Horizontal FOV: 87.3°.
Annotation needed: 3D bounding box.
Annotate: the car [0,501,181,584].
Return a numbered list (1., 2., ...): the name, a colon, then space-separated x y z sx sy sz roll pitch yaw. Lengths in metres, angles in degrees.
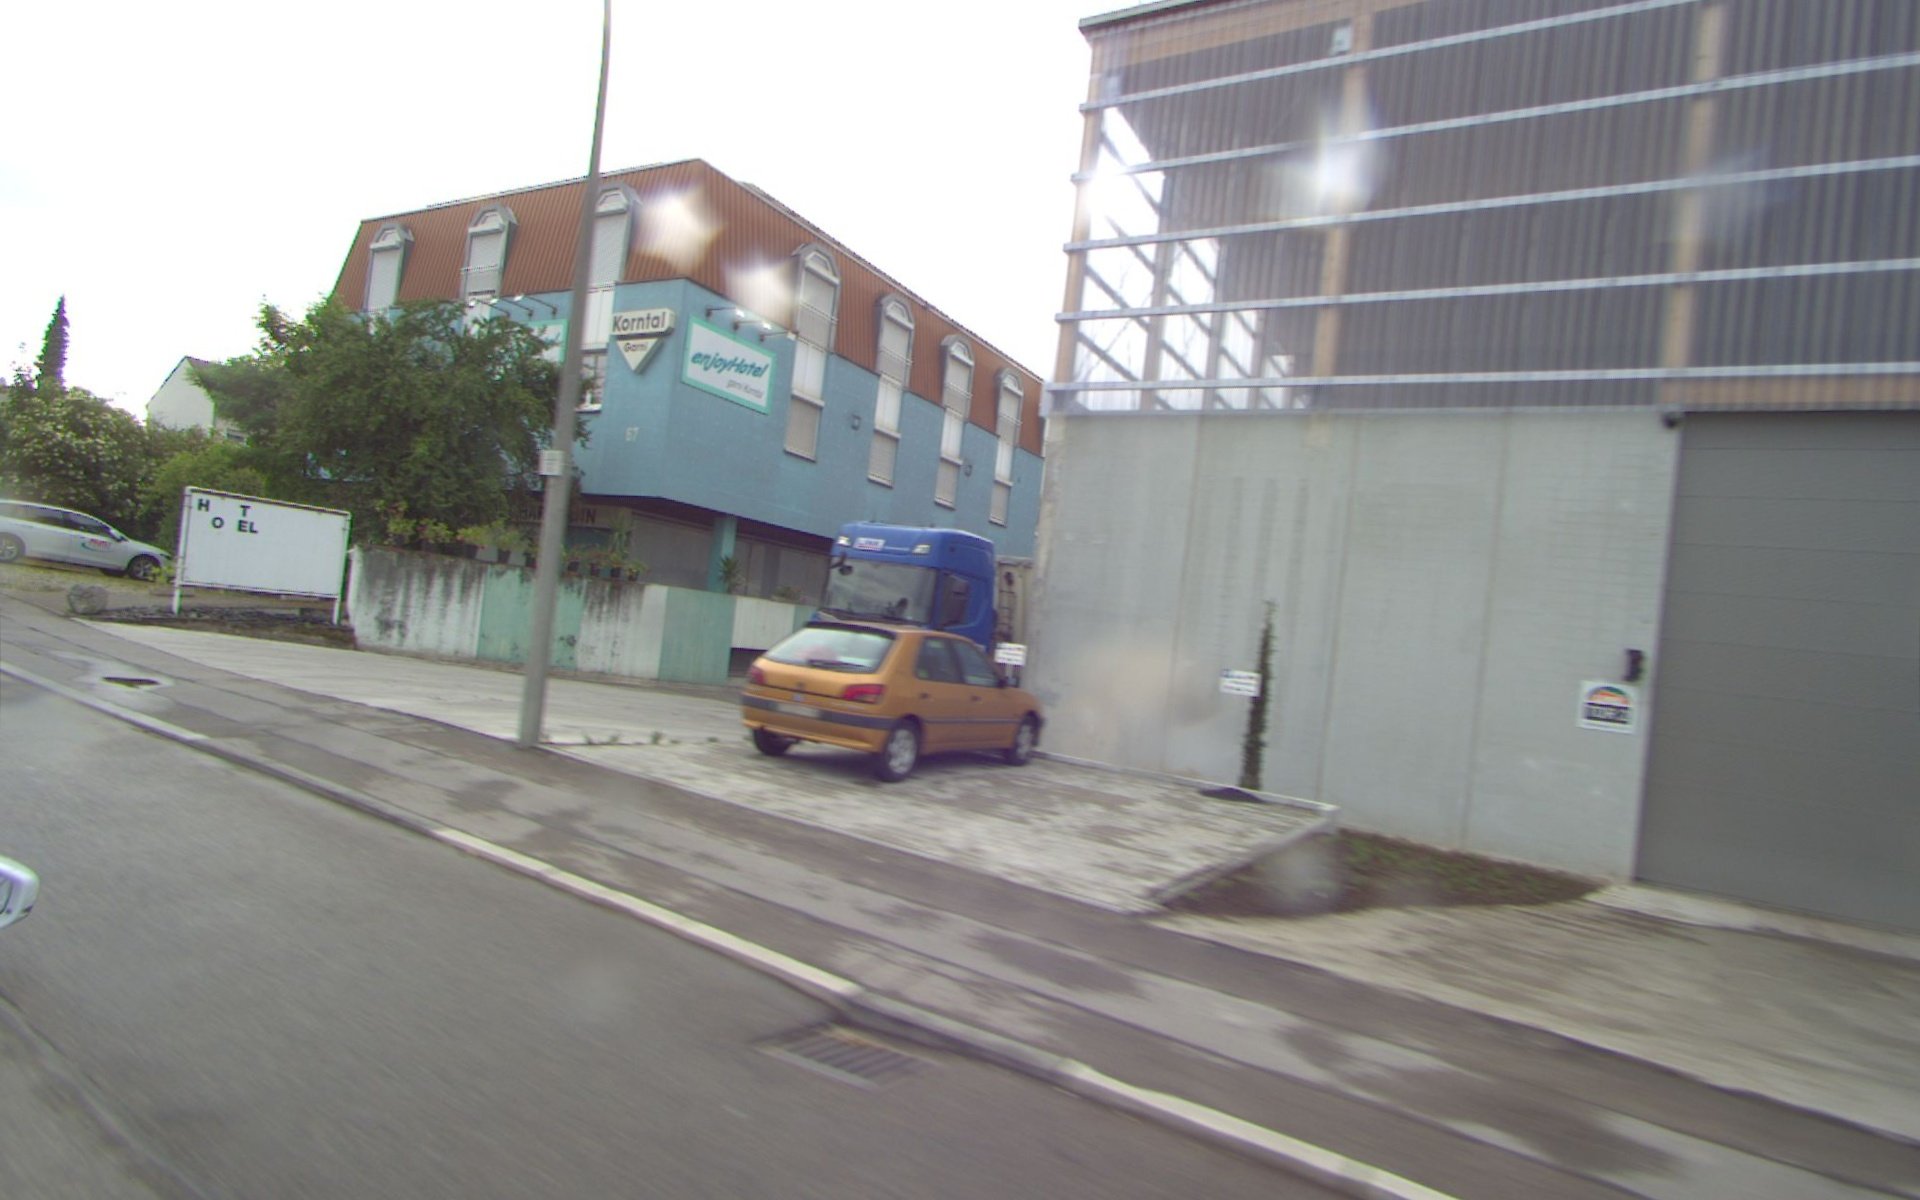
1. car: -21.797 -1.455 24.147 1.848 1.408 4.428 6 -3 30

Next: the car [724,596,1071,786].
1. car: -0.426 0.960 10.609 1.603 1.447 3.997 7 -2 29

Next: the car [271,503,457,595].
1. car: -15.291 -1.318 25.777 4.353 1.760 2.000 6 -3 29

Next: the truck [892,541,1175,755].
1. truck: 2.098 1.348 22.700 2.676 3.747 8.563 6 -4 29

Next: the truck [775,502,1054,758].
1. truck: -0.623 0.664 17.649 2.673 3.710 4.161 7 -5 28
